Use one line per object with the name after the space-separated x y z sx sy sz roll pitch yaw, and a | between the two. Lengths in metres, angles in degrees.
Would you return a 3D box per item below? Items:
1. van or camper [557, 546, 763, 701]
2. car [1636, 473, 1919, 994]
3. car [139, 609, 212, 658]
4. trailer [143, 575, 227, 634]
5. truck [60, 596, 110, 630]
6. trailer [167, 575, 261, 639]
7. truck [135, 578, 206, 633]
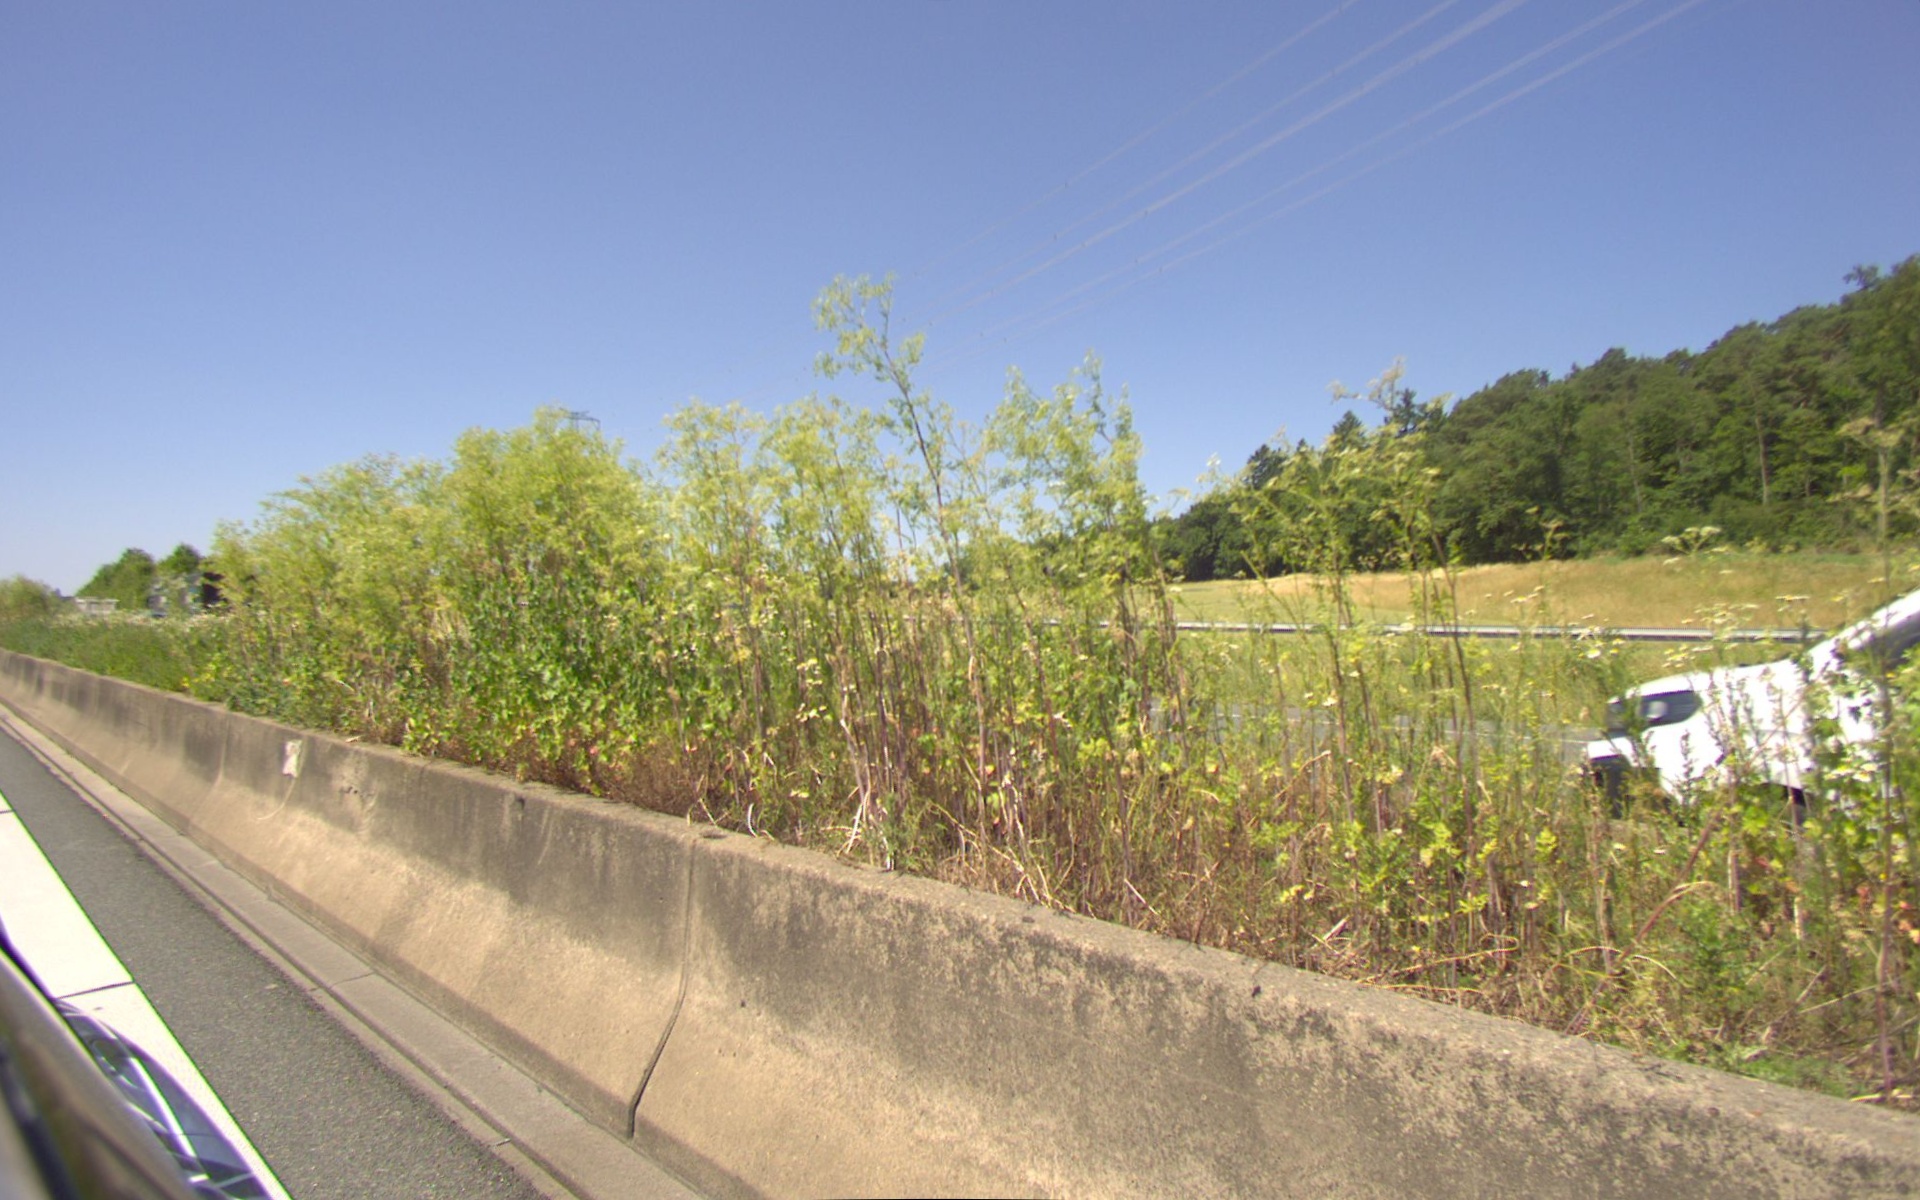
-6.353 0.484 21.175 4.648 2.882 2.026 -1 -2 42 | van or camper
5.617 0.543 4.082 4.598 2.163 1.973 -1 0 41 | car
-29.934 1.244 38.602 3.687 1.767 1.564 -1 -2 42 | car
-52.924 0.335 69.033 7.867 3.787 3.091 -1 -1 42 | trailer
-90.785 1.344 104.955 11.820 3.313 2.734 -1 -1 44 | truck
-47.022 0.484 63.723 8.198 3.790 3.149 -1 -2 42 | trailer
-56.178 0.407 71.940 5.461 3.738 3.039 -1 -1 42 | truck
